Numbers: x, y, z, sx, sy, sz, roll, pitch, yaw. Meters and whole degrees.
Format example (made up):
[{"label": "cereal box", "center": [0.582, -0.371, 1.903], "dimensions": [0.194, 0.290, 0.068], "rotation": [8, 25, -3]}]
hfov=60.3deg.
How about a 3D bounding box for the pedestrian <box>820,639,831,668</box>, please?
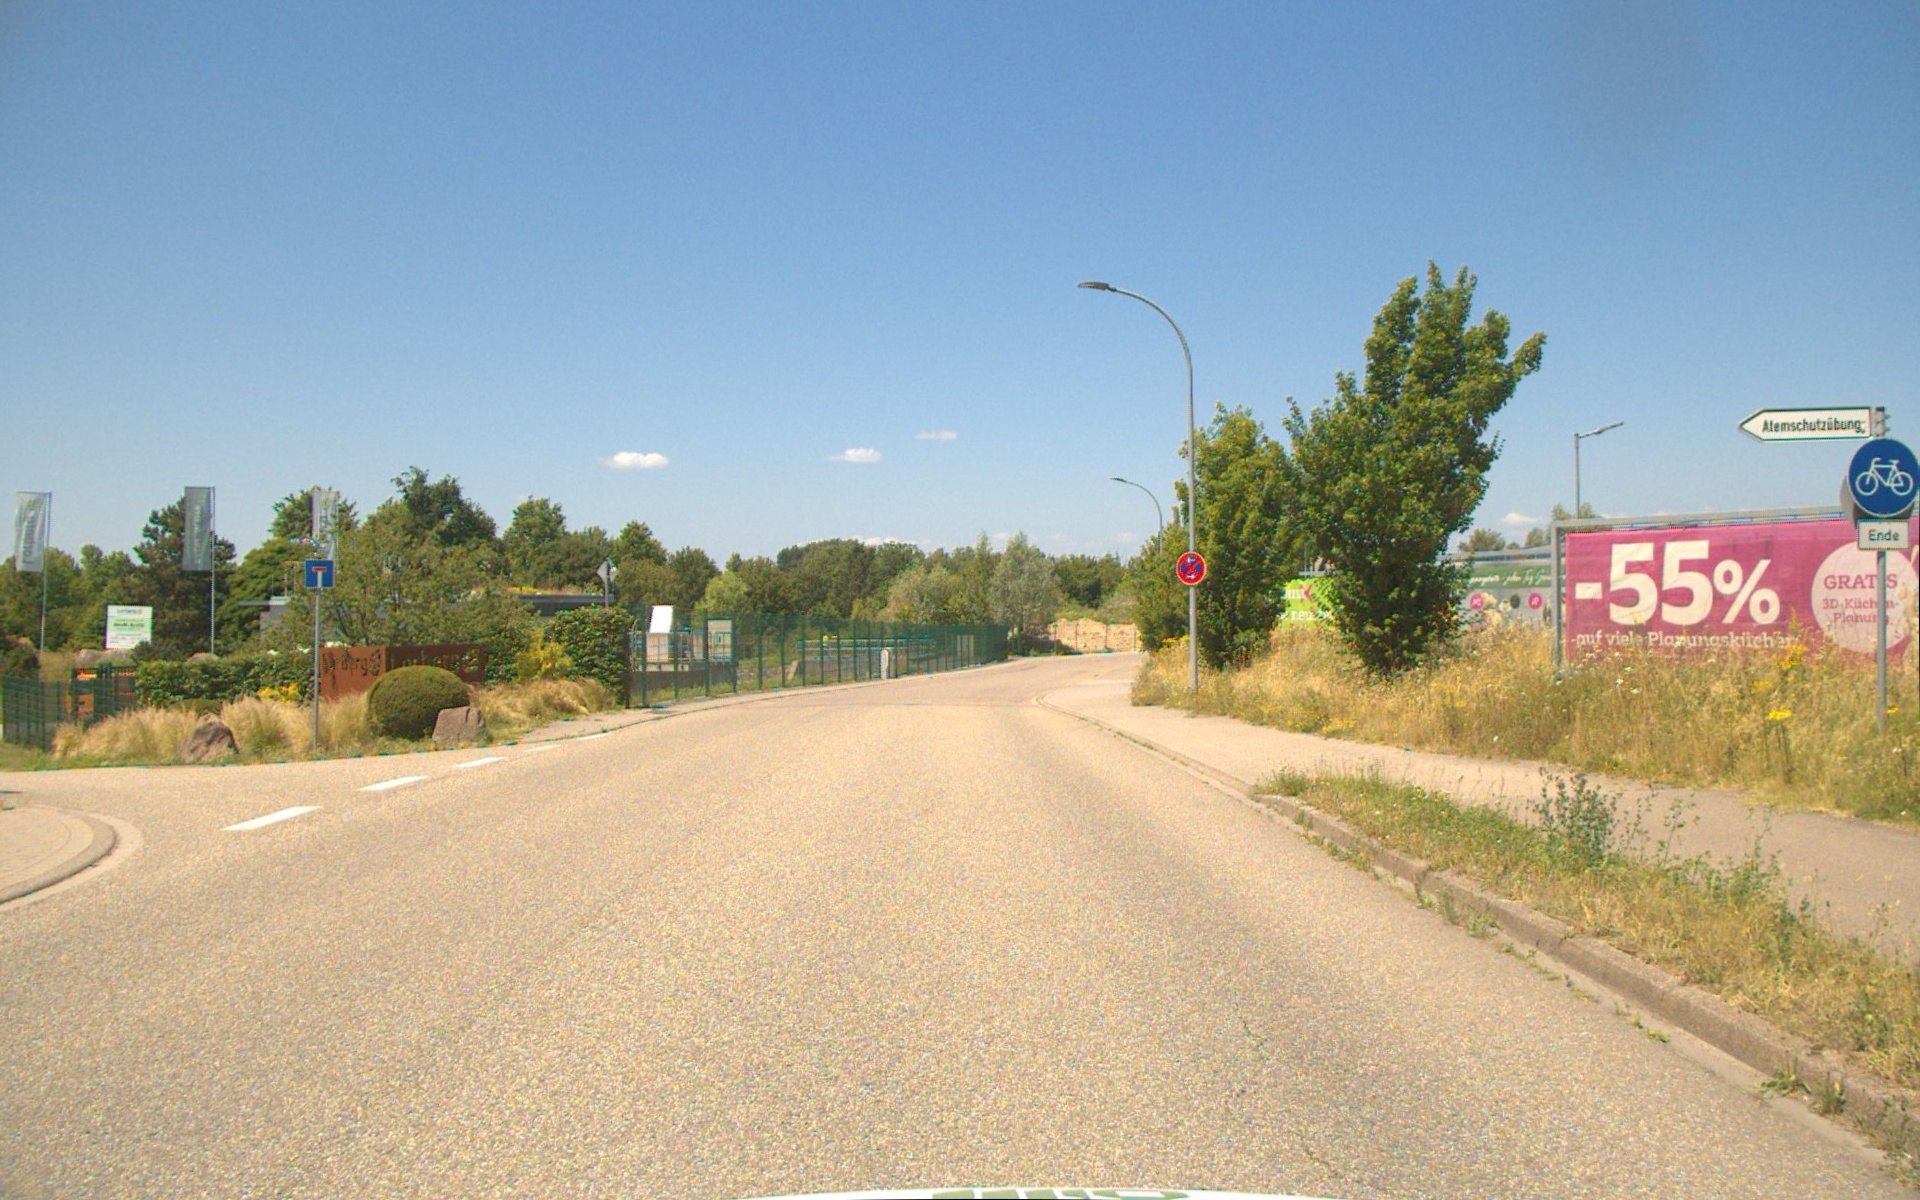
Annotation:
[{"label": "pedestrian", "center": [-8.982, 3.578, 110.473], "dimensions": [0.593, 1.871, 0.805], "rotation": [-1, -2, 7]}]
